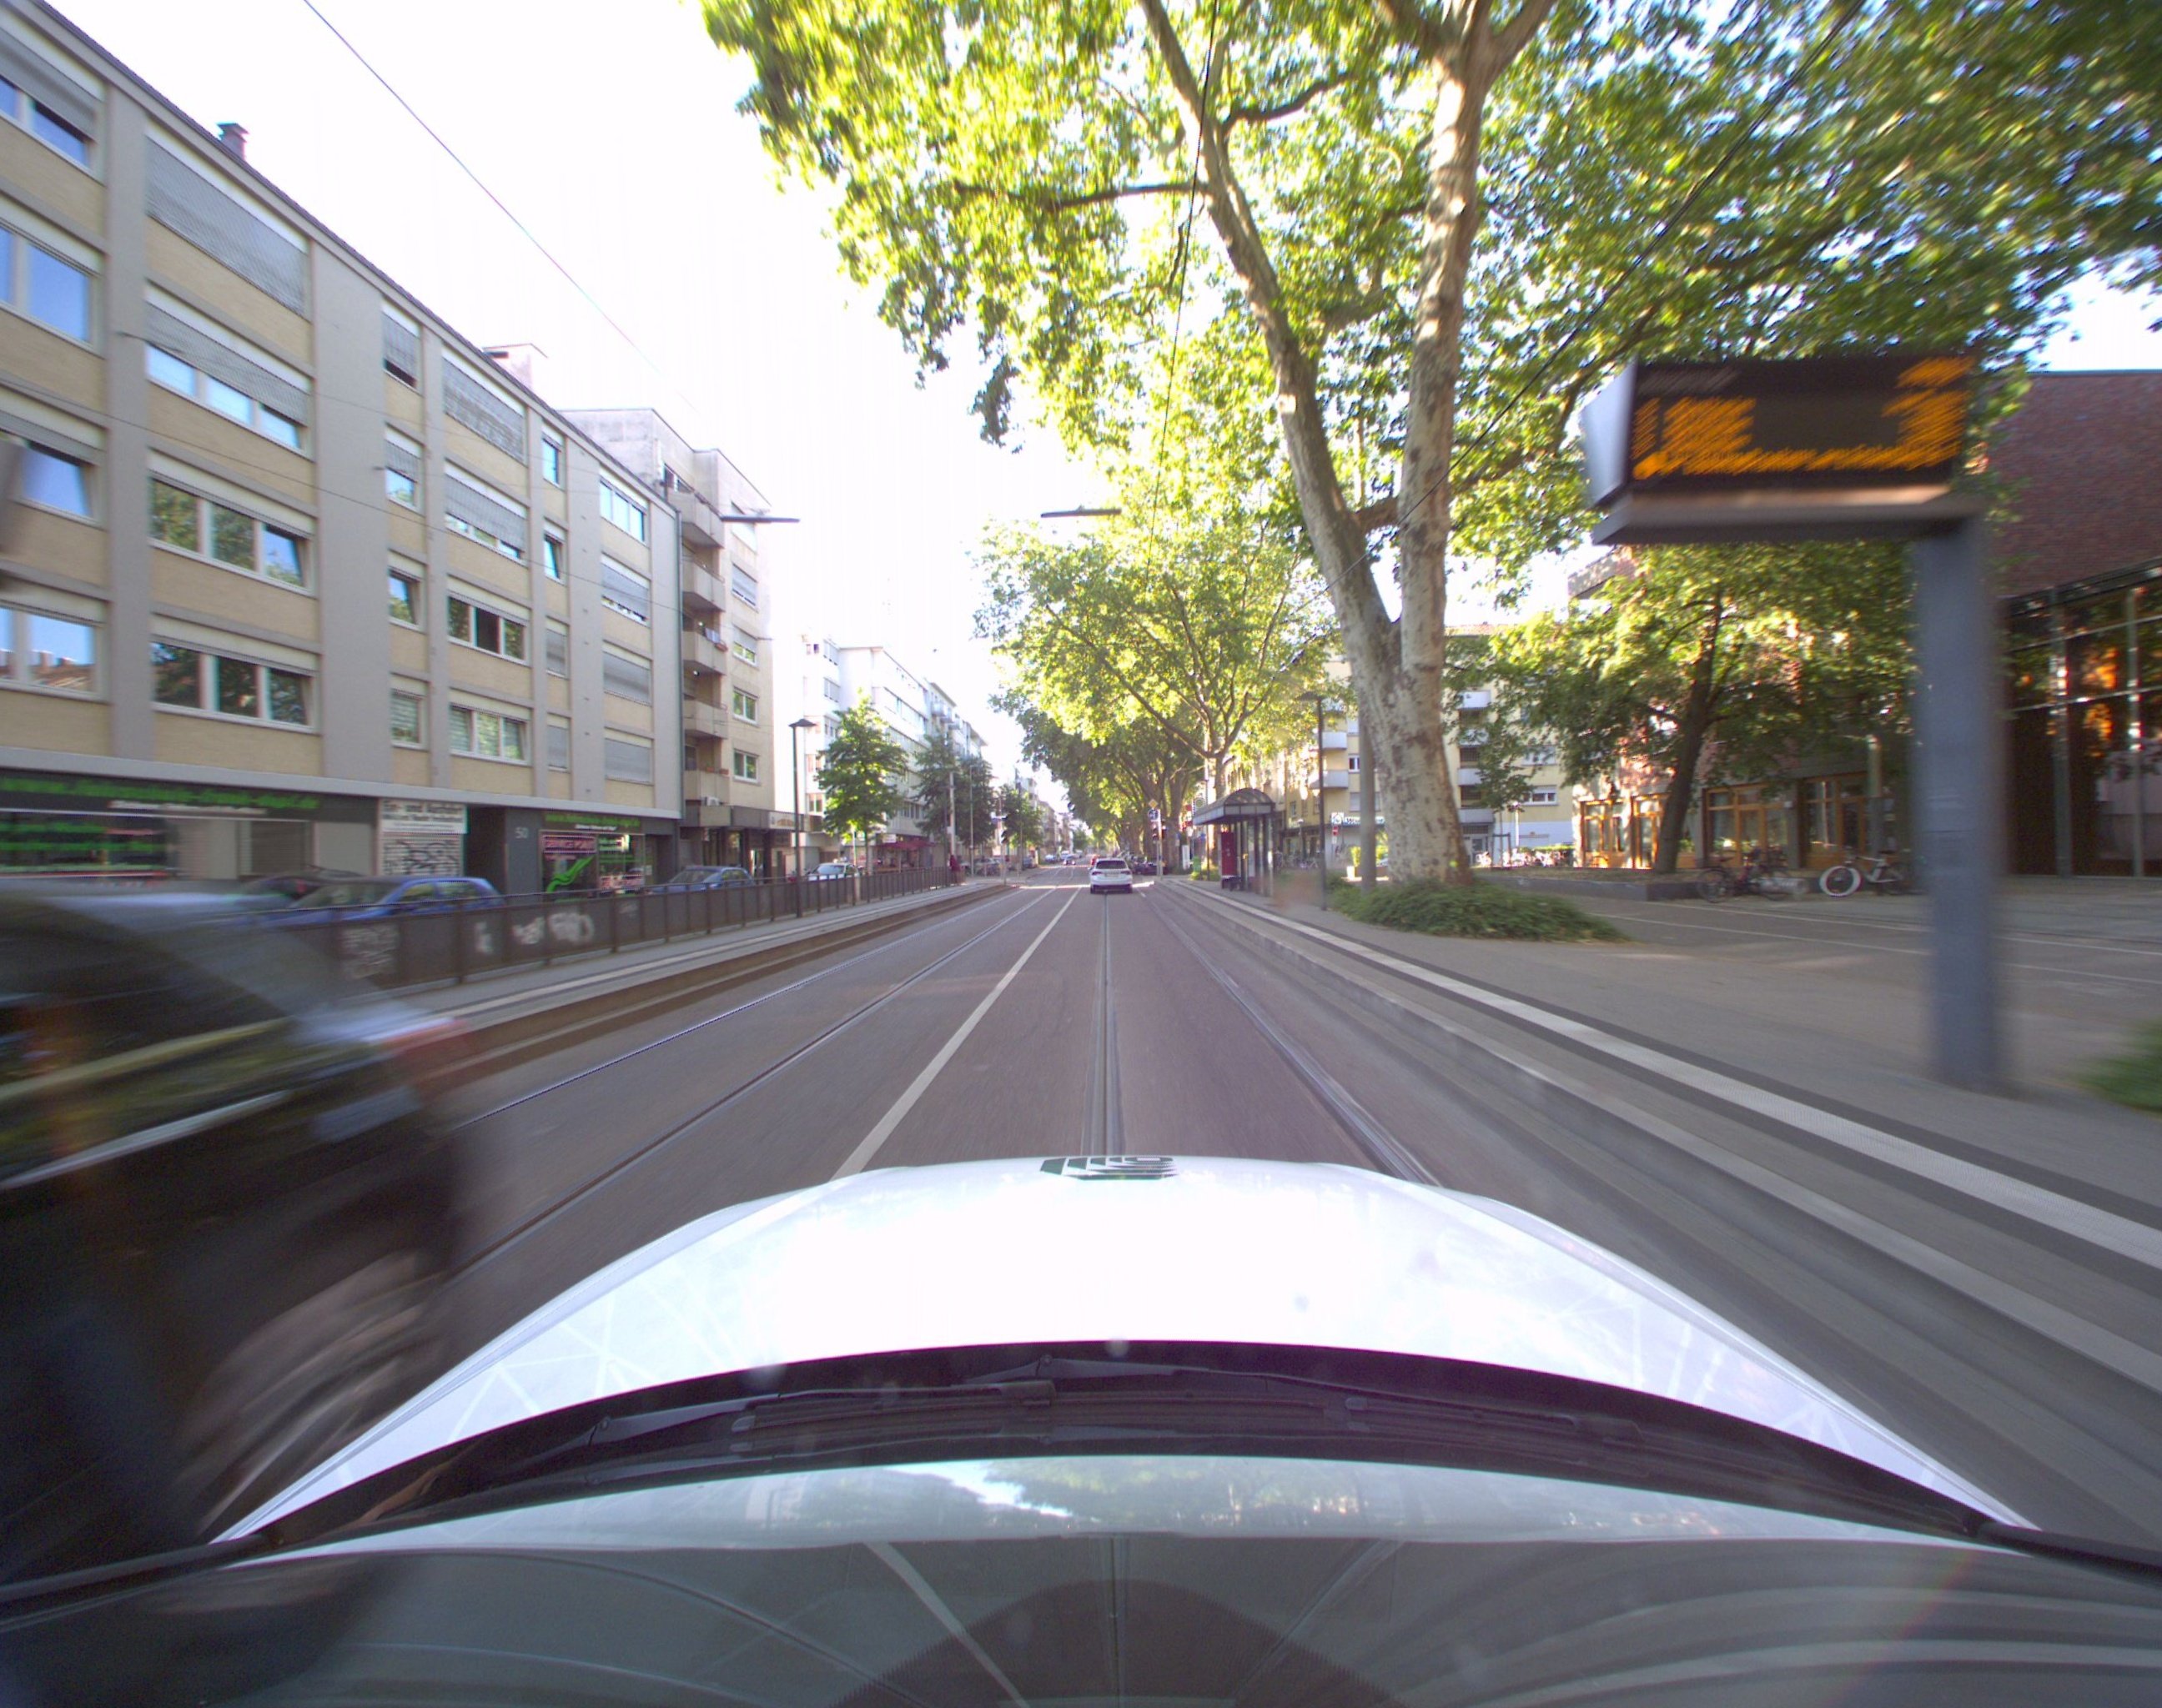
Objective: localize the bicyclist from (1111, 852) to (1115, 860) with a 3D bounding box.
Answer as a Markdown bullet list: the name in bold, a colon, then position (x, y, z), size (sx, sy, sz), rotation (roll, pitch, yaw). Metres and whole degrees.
- **bicyclist**: position (5.816, 0.397, 149.689), size (0.647, 1.344, 0.934), rotation (-2, 0, 0)

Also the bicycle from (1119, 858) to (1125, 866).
- **bicycle**: position (5.337, 1.049, 105.393), size (0.679, 1.071, 1.782), rotation (-2, 0, 2)

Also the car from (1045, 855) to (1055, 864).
- **car**: position (-5.808, 0.988, 155.179), size (1.697, 1.650, 4.241), rotation (1, 0, 0)

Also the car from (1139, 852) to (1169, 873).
- **car**: position (5.412, 0.643, 61.102), size (1.759, 1.462, 5.011), rotation (-2, 0, 0)

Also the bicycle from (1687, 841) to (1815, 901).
- **bicycle**: position (14.150, 0.361, 17.237), size (2.018, 1.156, 0.574), rotation (-3, 0, 11)

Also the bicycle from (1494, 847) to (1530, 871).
- **bicycle**: position (21.716, 0.234, 41.067), size (0.727, 1.156, 2.052), rotation (-3, 0, 2)

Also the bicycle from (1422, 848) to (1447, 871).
- **bicycle**: position (18.110, 0.270, 41.750), size (0.597, 1.156, 1.700), rotation (-3, 0, 5)

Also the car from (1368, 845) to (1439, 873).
- **car**: position (20.741, 0.294, 52.455), size (3.848, 1.552, 1.867), rotation (-2, 2, 1)

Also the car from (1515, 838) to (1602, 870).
- **car**: position (27.287, 0.003, 46.645), size (3.848, 1.693, 1.866), rotation (-2, 0, 1)

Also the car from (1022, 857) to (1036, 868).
- **car**: position (-7.010, 1.138, 110.341), size (1.709, 1.464, 4.373), rotation (2, 0, -2)

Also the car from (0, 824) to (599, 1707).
- **car**: position (-2.618, 0.774, 0.870), size (1.756, 1.588, 4.000), rotation (-2, 0, 0)

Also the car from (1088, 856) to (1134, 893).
- **car**: position (1.203, 0.824, 33.917), size (1.756, 1.384, 4.000), rotation (-2, 0, 0)

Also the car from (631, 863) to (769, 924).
- **car**: position (-11.353, 1.115, 24.648), size (1.949, 1.544, 4.390), rotation (-2, 0, 2)

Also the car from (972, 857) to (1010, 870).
- **car**: position (-9.805, 1.034, 89.121), size (4.001, 1.475, 1.850), rotation (0, -1, -2)

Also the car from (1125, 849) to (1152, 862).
- **car**: position (10.120, 0.280, 142.563), size (4.530, 2.076, 2.000), rotation (-2, 0, -1)

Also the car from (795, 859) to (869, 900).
- **car**: position (-11.173, 1.102, 36.883), size (1.871, 1.651, 4.358), rotation (-2, 0, 1)

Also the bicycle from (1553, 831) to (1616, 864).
- **bicycle**: position (19.049, -0.242, 30.850), size (1.913, 1.156, 0.575), rotation (-3, 0, 17)

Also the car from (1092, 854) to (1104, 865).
- **car**: position (2.461, 0.802, 118.332), size (1.755, 1.475, 4.001), rotation (-2, 0, 1)

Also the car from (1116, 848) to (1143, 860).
- **car**: position (11.286, 0.057, 189.559), size (6.111, 2.635, 2.528), rotation (-2, 0, -1)

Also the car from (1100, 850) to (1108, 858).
- **car**: position (7.163, -0.005, 252.084), size (2.194, 2.388, 4.001), rotation (-2, 0, 2)

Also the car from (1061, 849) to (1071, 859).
- **car**: position (-4.218, -0.051, 230.110), size (2.334, 2.861, 4.001), rotation (-2, 0, 2)

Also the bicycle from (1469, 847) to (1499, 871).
- **bicycle**: position (20.435, 0.242, 41.321), size (0.633, 1.156, 1.984), rotation (-3, 0, 4)

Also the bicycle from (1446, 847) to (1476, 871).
- **bicycle**: position (19.187, 0.252, 41.106), size (0.598, 1.156, 1.696), rotation (-3, 0, -3)

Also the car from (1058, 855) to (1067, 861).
- **car**: position (-4.483, 1.002, 199.701), size (1.986, 1.530, 4.001), rotation (-2, 0, 2)

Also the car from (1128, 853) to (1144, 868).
- **car**: position (5.956, 0.750, 88.025), size (1.557, 1.519, 2.913), rotation (-3, -1, 4)

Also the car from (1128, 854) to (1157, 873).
- **car**: position (4.974, 0.763, 66.103), size (1.859, 1.437, 4.223), rotation (-3, 0, -2)

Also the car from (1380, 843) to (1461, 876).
- **car**: position (19.361, 0.313, 46.587), size (3.848, 1.693, 1.866), rotation (-2, 0, 1)

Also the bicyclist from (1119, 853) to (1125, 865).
- **bicyclist**: position (5.322, 0.664, 105.315), size (0.676, 1.443, 1.047), rotation (-2, 0, 2)

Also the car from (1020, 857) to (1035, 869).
- **car**: position (-6.933, 1.105, 105.552), size (1.711, 1.464, 3.992), rotation (2, 0, -5)

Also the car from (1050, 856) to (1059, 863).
- **car**: position (-5.541, 1.080, 170.837), size (1.648, 1.437, 3.836), rotation (-1, 0, 0)

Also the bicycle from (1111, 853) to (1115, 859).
- **bicycle**: position (5.821, 0.397, 149.677), size (0.647, 1.071, 1.583), rotation (-2, 0, 0)

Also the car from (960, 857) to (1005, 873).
- **car**: position (-9.383, 1.070, 77.520), size (3.997, 1.475, 1.852), rotation (0, -1, 2)

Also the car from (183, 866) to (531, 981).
- **car**: position (-11.513, 1.003, 13.465), size (1.788, 1.464, 4.283), rotation (-2, 0, 2)

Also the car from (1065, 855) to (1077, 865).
- **car**: position (-1.661, 0.945, 131.571), size (1.865, 1.590, 4.146), rotation (1, 0, 0)
